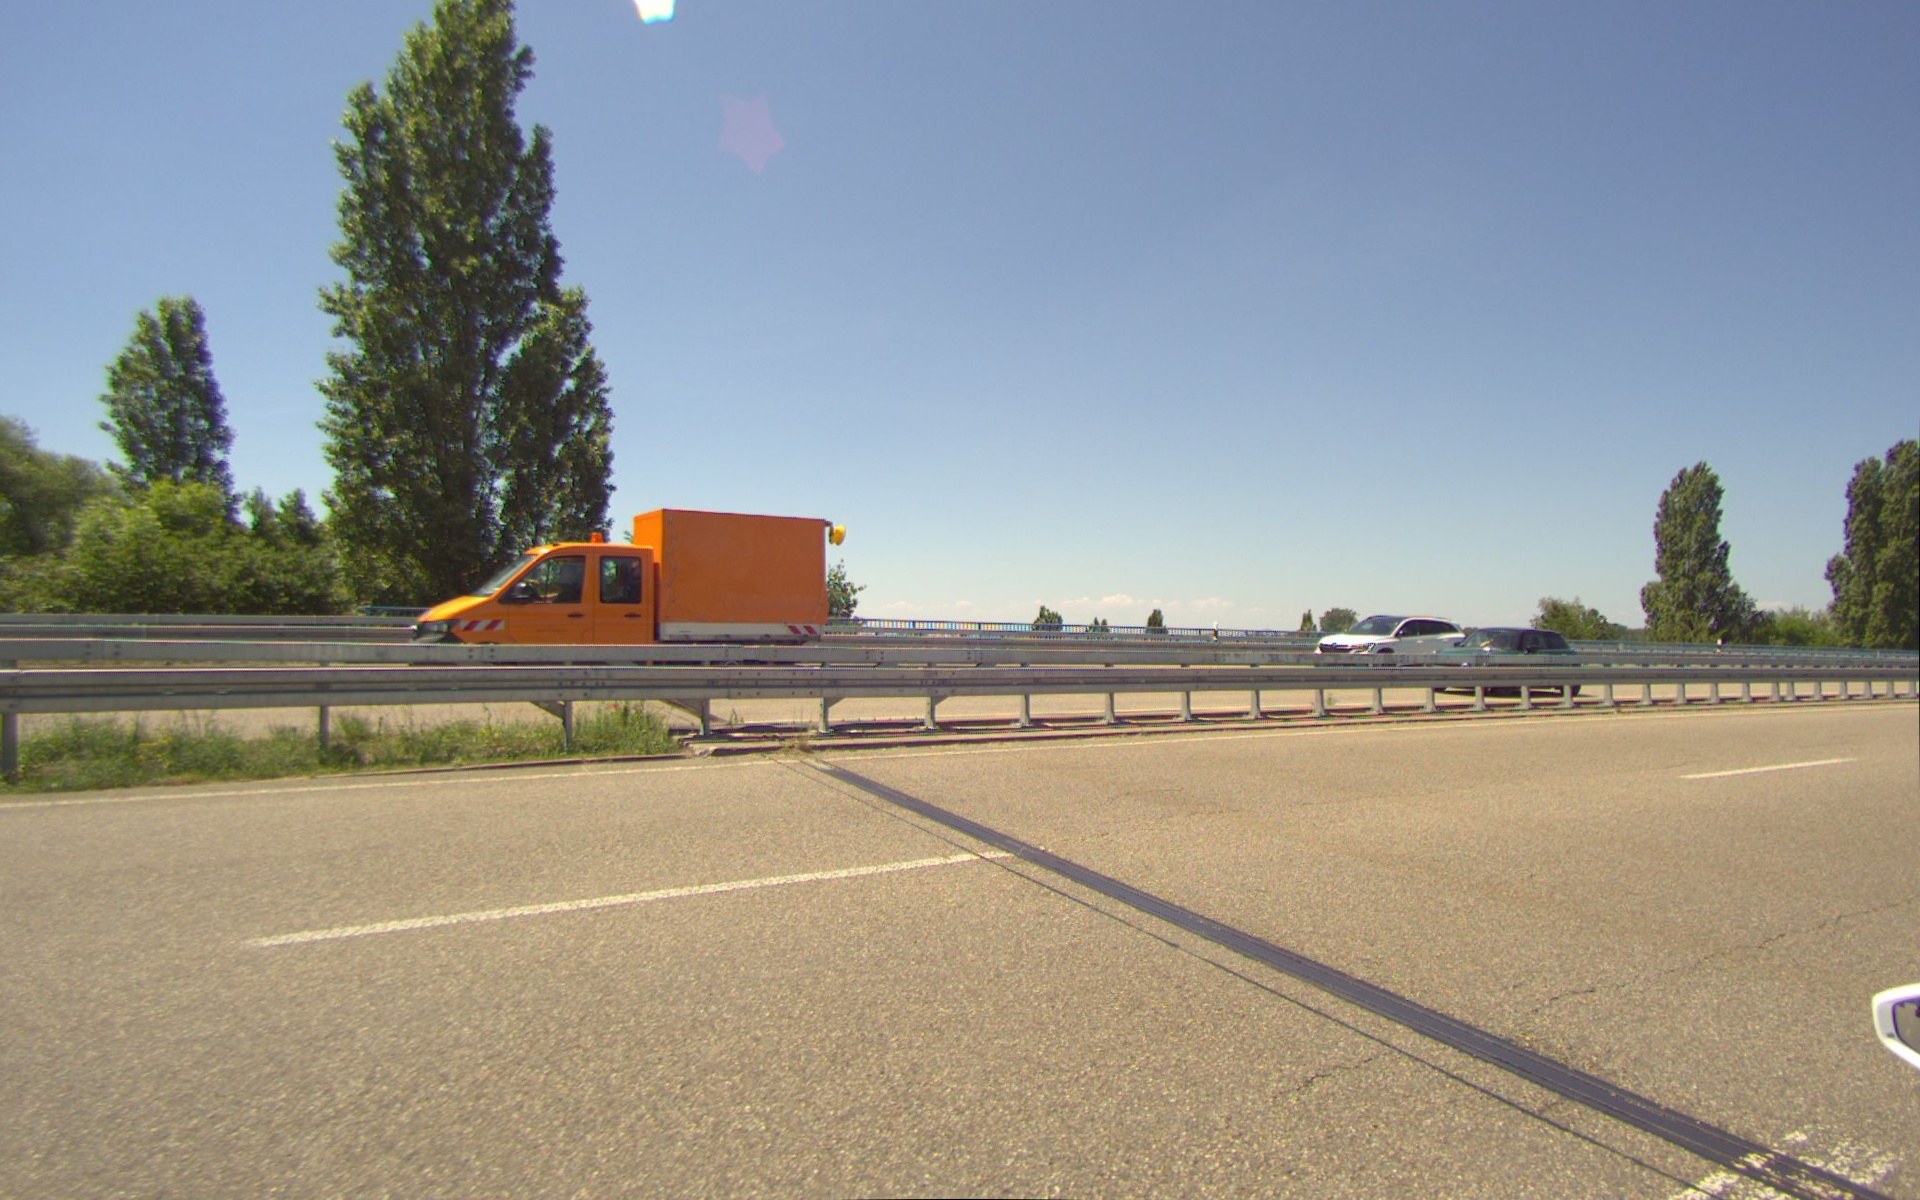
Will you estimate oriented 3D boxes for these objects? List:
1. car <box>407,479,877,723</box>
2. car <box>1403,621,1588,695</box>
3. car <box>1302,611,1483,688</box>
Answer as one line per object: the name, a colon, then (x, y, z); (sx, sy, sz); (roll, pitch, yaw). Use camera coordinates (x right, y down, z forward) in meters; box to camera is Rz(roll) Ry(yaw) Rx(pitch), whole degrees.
car: (-5.025, 0.136, 16.427); (6.944, 3.335, 2.295); (2, -1, -30)
car: (11.636, 1.273, 21.783); (3.901, 1.447, 1.717); (3, -2, -30)
car: (11.483, 1.325, 26.587); (4.736, 1.842, 1.845); (3, -2, -28)
